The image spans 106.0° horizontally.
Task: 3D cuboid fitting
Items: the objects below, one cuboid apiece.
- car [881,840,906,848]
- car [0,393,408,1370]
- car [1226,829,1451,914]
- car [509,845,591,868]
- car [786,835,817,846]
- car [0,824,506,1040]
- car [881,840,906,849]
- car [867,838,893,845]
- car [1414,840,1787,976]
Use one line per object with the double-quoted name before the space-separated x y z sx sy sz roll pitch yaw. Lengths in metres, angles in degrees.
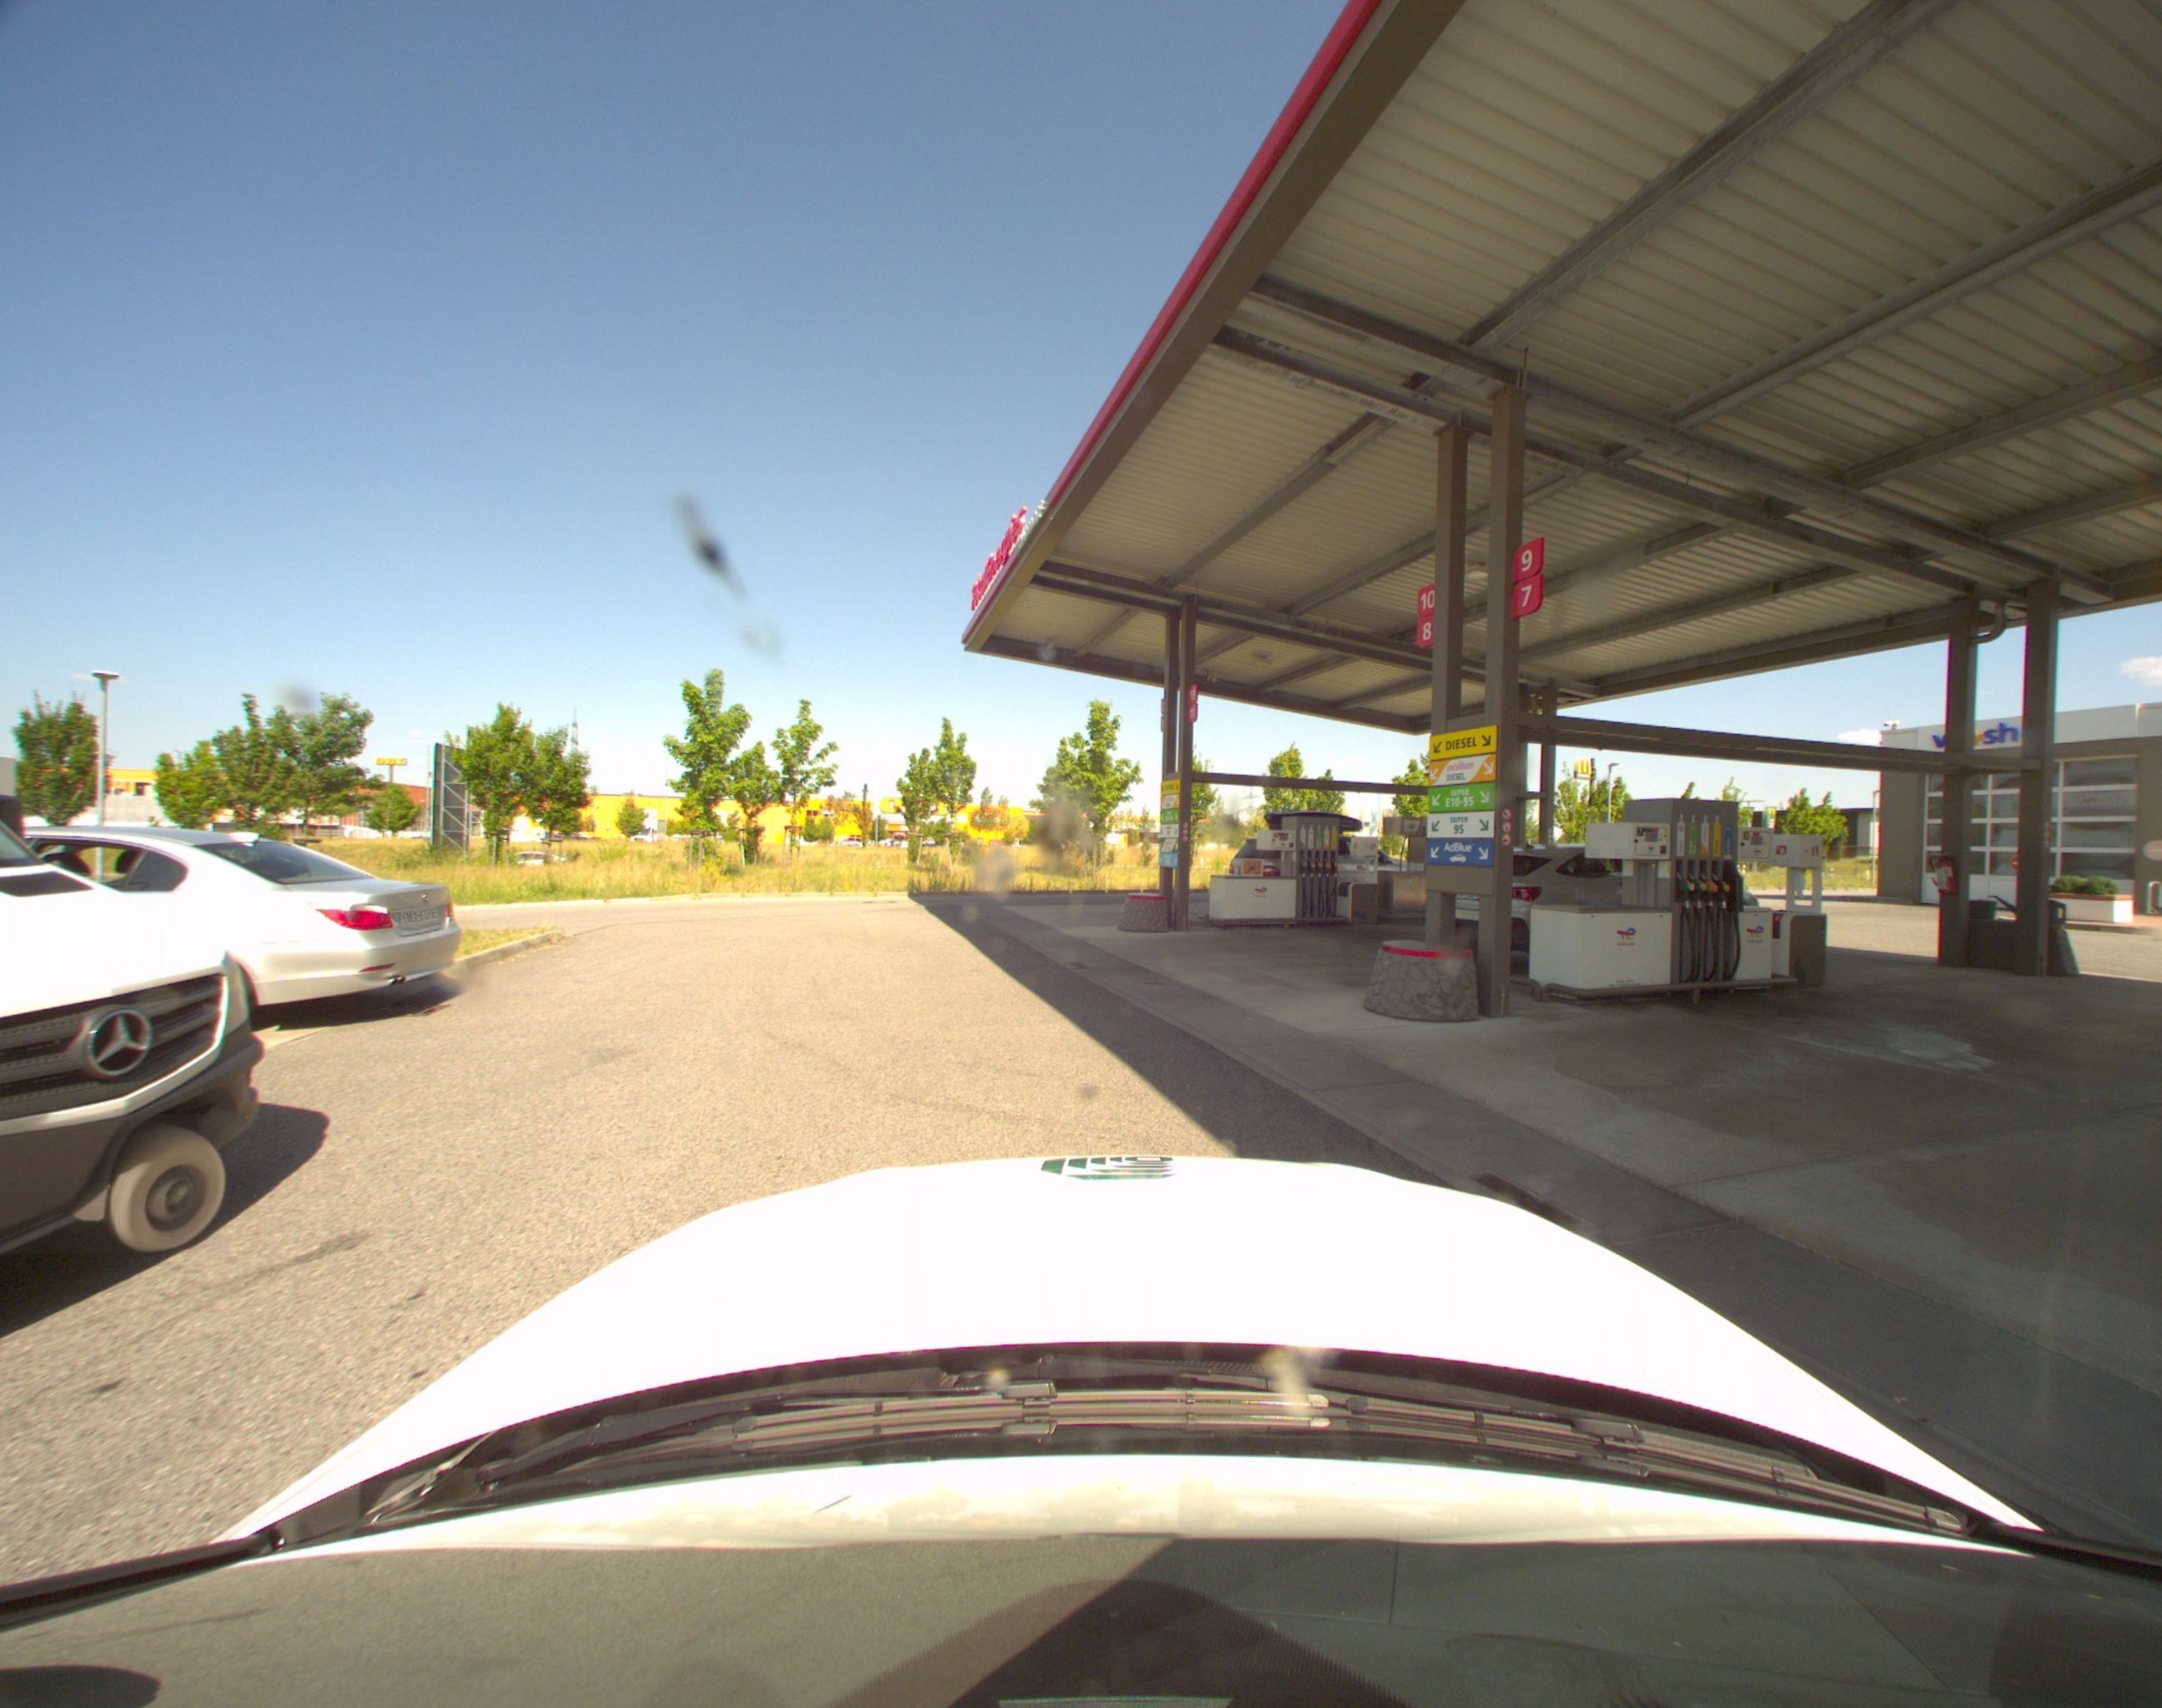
"car" -31.885 -1.703 138.628 4.011 1.299 1.748 0 0 -15
"car" -6.374 -0.058 2.035 7.009 2.571 1.993 3 0 -11
"car" 5.626 0.339 17.828 4.537 1.687 1.853 0 1 -21
"car" -31.103 0.122 47.806 3.738 1.299 1.478 0 0 -15
"car" -42.552 -2.038 124.192 4.378 1.548 1.785 0 0 -15
"car" -7.368 0.519 6.340 4.316 1.428 1.784 1 0 -16
"car" -32.502 -1.696 140.829 4.163 1.470 1.663 0 0 -15
"car" -30.180 -1.867 122.304 3.706 1.113 1.585 0 0 -15
"car" 6.794 0.614 10.737 4.321 1.541 1.776 0 1 -17
